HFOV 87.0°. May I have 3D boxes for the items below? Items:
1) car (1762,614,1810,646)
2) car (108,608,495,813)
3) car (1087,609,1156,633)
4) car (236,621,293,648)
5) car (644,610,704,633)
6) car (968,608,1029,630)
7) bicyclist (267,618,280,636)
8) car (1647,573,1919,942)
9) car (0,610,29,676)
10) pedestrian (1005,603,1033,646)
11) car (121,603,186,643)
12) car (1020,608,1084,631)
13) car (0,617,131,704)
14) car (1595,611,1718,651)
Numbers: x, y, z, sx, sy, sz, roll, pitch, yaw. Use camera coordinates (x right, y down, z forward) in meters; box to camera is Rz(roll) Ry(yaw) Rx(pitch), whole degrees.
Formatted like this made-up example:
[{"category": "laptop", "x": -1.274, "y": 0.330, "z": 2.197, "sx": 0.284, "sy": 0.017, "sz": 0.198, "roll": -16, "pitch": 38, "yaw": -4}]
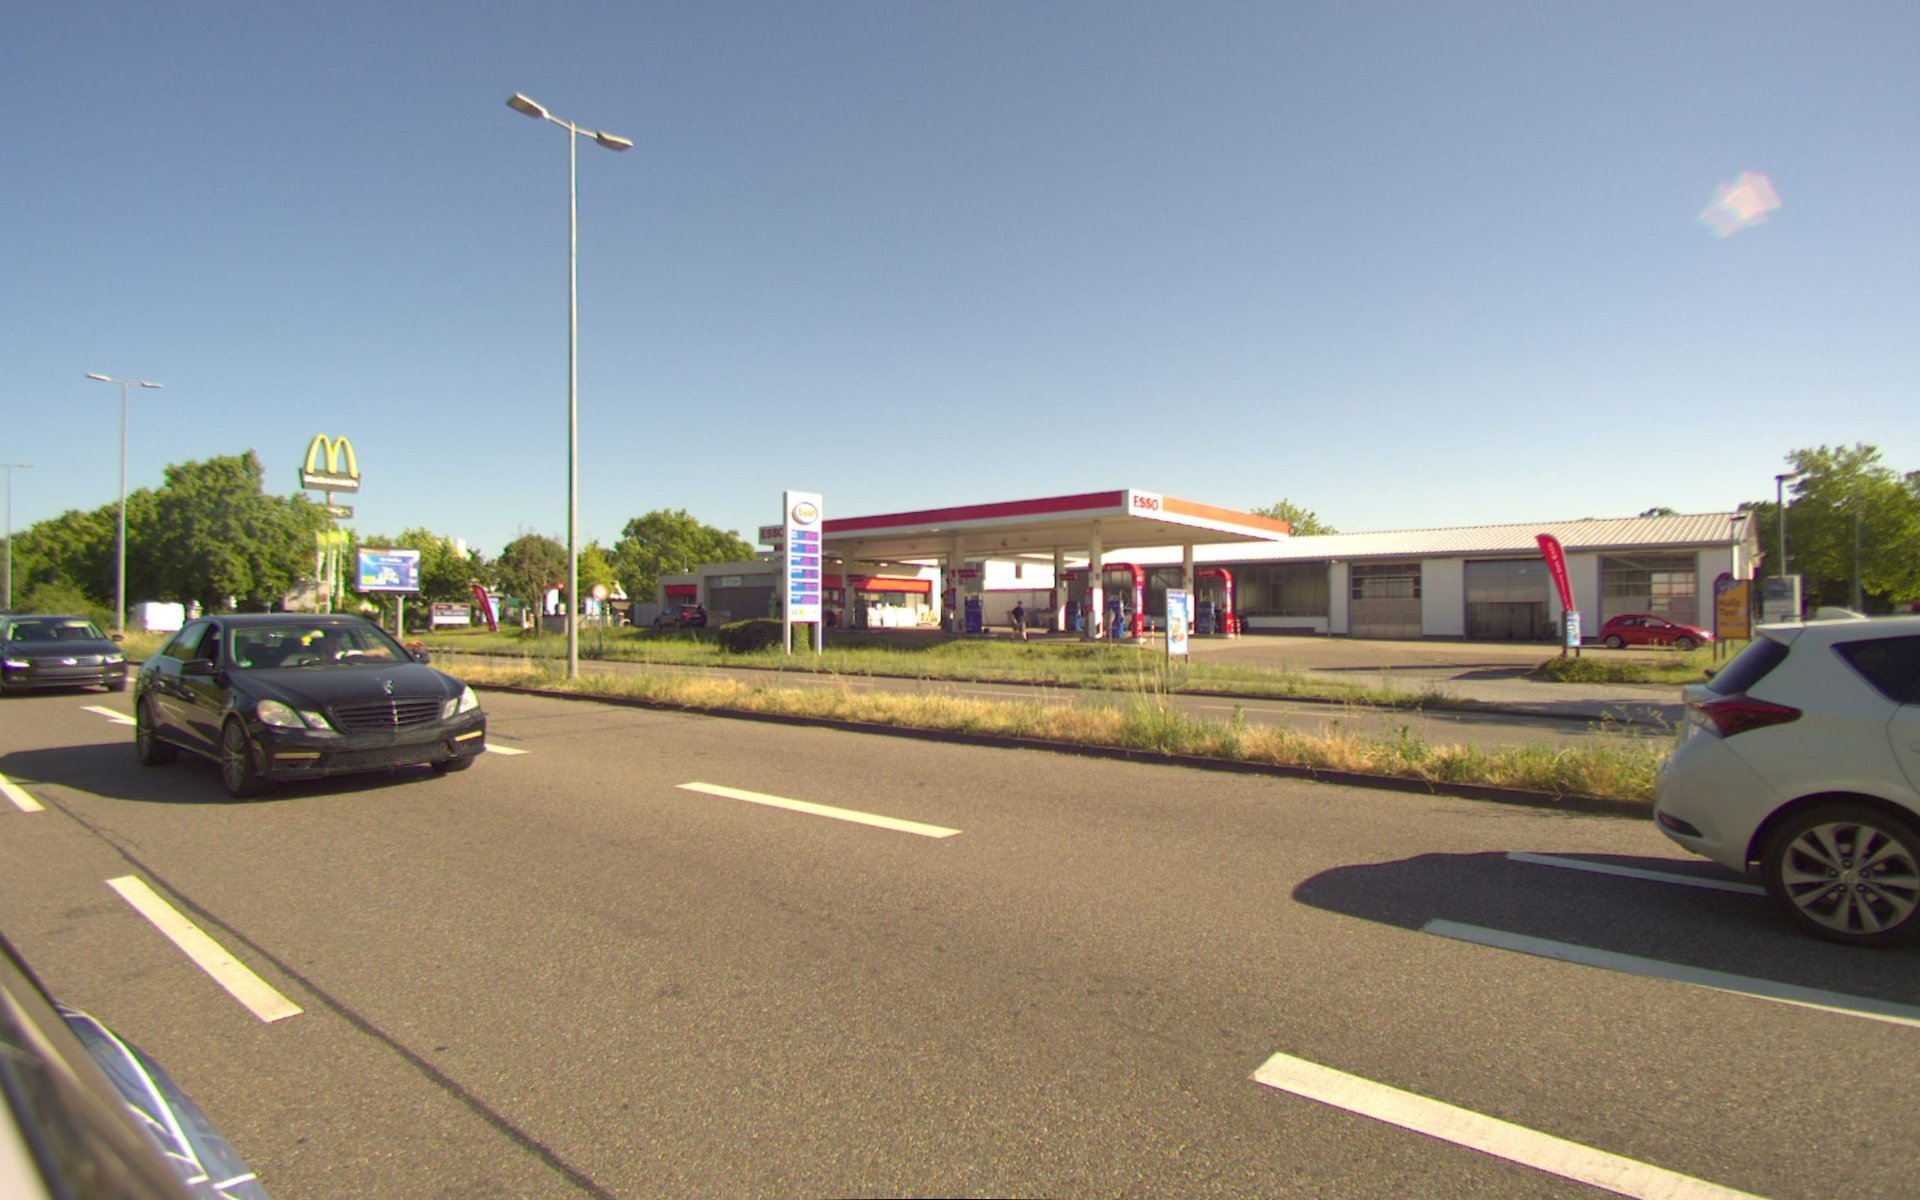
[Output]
[{"category": "car", "x": 38.511, "y": 1.367, "z": 47.162, "sx": 1.653, "sy": 1.375, "sz": 3.723, "roll": 0, "pitch": 0, "yaw": 41}, {"category": "car", "x": -6.307, "y": 0.823, "z": 9.489, "sx": 4.399, "sy": 1.449, "sz": 1.845, "roll": 0, "pitch": 0, "yaw": 40}, {"category": "car", "x": 10.081, "y": 1.287, "z": 63.225, "sx": 3.975, "sy": 1.420, "sz": 1.661, "roll": 0, "pitch": -3, "yaw": 40}, {"category": "car", "x": -42.698, "y": 2.084, "z": 62.079, "sx": 4.476, "sy": 1.502, "sz": 1.740, "roll": -1, "pitch": -4, "yaw": 41}, {"category": "car", "x": -17.832, "y": 1.330, "z": 63.071, "sx": 3.975, "sy": 1.420, "sz": 1.661, "roll": 0, "pitch": -1, "yaw": 40}, {"category": "car", "x": 2.654, "y": 1.308, "z": 69.735, "sx": 3.975, "sy": 1.420, "sz": 1.661, "roll": 0, "pitch": -3, "yaw": 40}, {"category": "bicyclist", "x": -48.627, "y": 1.909, "z": 71.649, "sx": 0.700, "sy": 1.298, "sz": 0.621, "roll": 0, "pitch": 0, "yaw": 41}, {"category": "car", "x": 5.358, "y": 0.632, "z": 4.036, "sx": 4.194, "sy": 1.501, "sz": 1.741, "roll": 0, "pitch": 0, "yaw": 40}, {"category": "car", "x": -25.756, "y": 1.109, "z": 26.419, "sx": 3.876, "sy": 1.629, "sz": 1.653, "roll": -1, "pitch": 0, "yaw": 40}, {"category": "pedestrian", "x": 2.474, "y": 1.022, "z": 42.576, "sx": 0.904, "sy": 1.763, "sz": 0.780, "roll": 0, "pitch": 0, "yaw": 43}, {"category": "car", "x": -52.146, "y": 1.473, "z": 65.386, "sx": 5.817, "sy": 2.466, "sz": 2.002, "roll": 0, "pitch": -4, "yaw": 40}, {"category": "car", "x": 6.063, "y": 1.297, "z": 66.950, "sx": 3.975, "sy": 1.420, "sz": 1.661, "roll": 0, "pitch": -3, "yaw": 40}, {"category": "car", "x": -17.357, "y": 1.065, "z": 19.184, "sx": 4.284, "sy": 1.438, "sz": 1.775, "roll": -1, "pitch": 0, "yaw": 40}, {"category": "car", "x": 29.365, "y": 1.277, "z": 42.745, "sx": 1.757, "sy": 1.528, "sz": 4.003, "roll": -1, "pitch": 0, "yaw": -44}]
